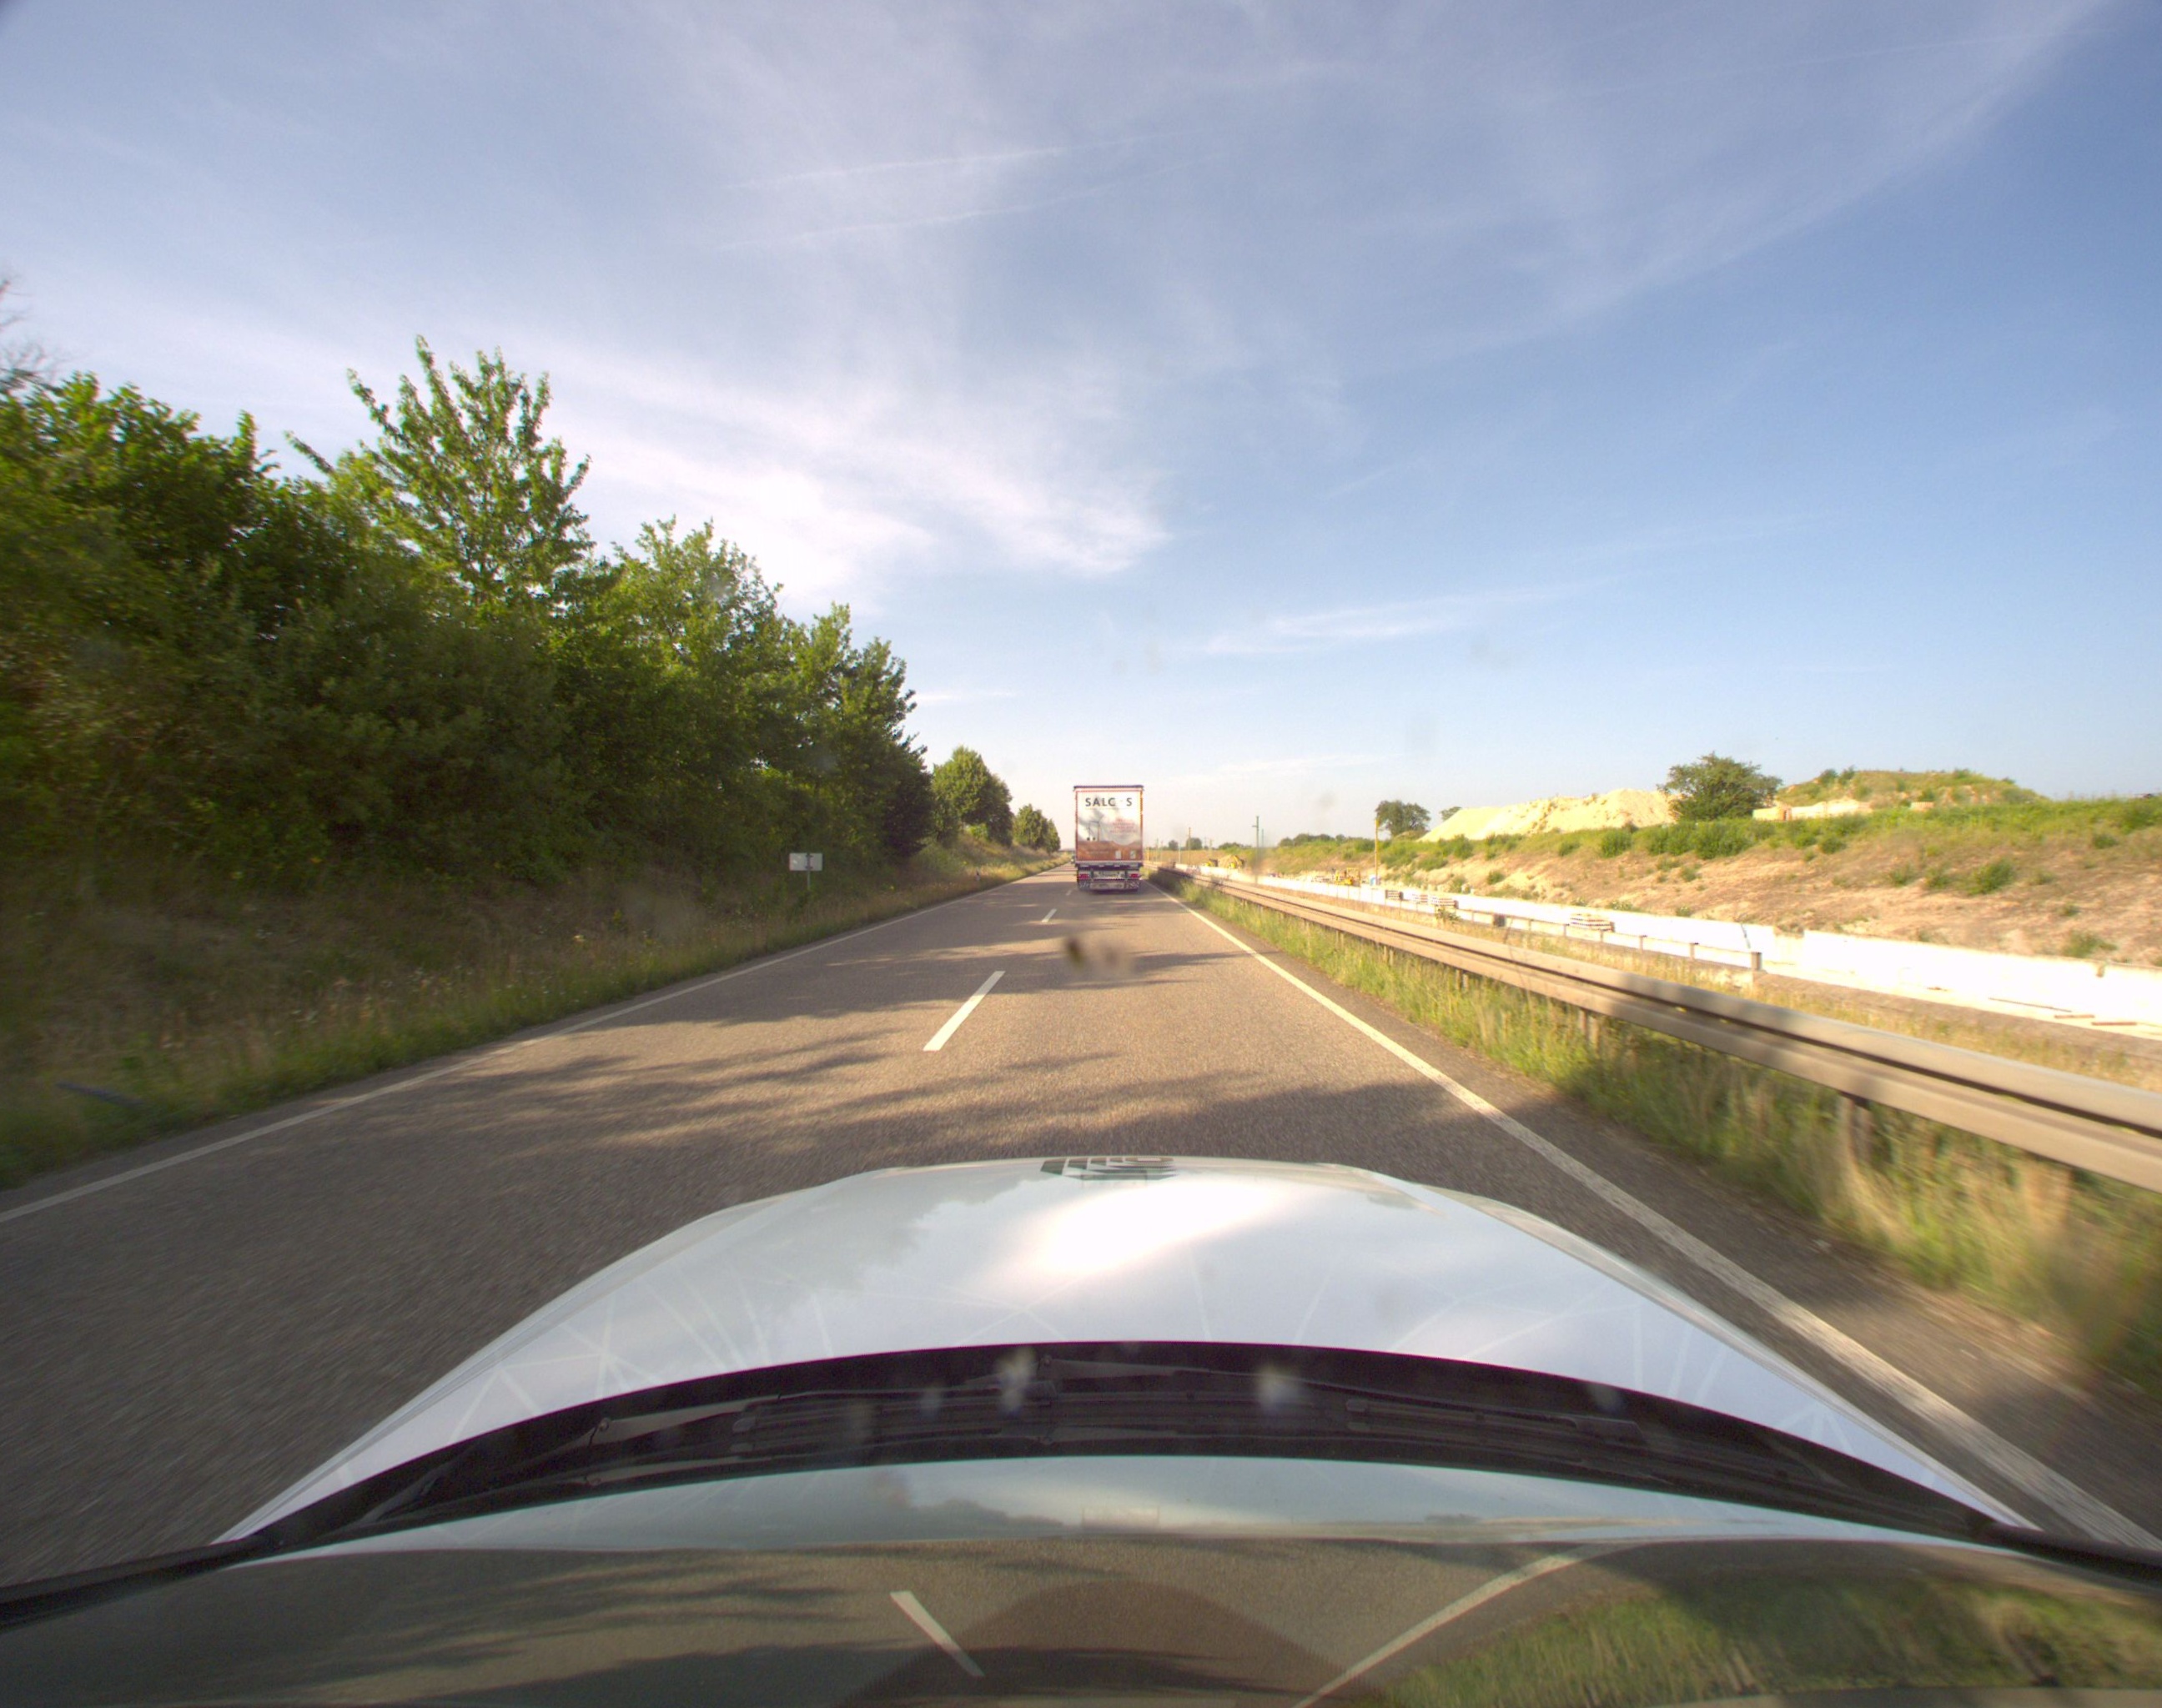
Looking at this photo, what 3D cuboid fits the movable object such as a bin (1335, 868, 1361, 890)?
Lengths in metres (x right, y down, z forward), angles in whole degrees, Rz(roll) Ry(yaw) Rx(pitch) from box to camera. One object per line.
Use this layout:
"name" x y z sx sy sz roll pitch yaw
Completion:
"movable object such as a bin" 33.081 3.046 100.894 2.877 2.661 2.031 0 0 26

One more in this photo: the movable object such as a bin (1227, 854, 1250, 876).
"movable object such as a bin" 28.722 2.017 148.558 2.787 3.886 7.537 0 0 0

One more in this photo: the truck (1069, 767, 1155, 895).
"truck" 1.254 -0.863 34.368 3.141 4.688 8.443 -1 0 1

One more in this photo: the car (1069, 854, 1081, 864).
"car" -0.905 0.730 130.605 1.736 1.546 4.314 -1 0 2
